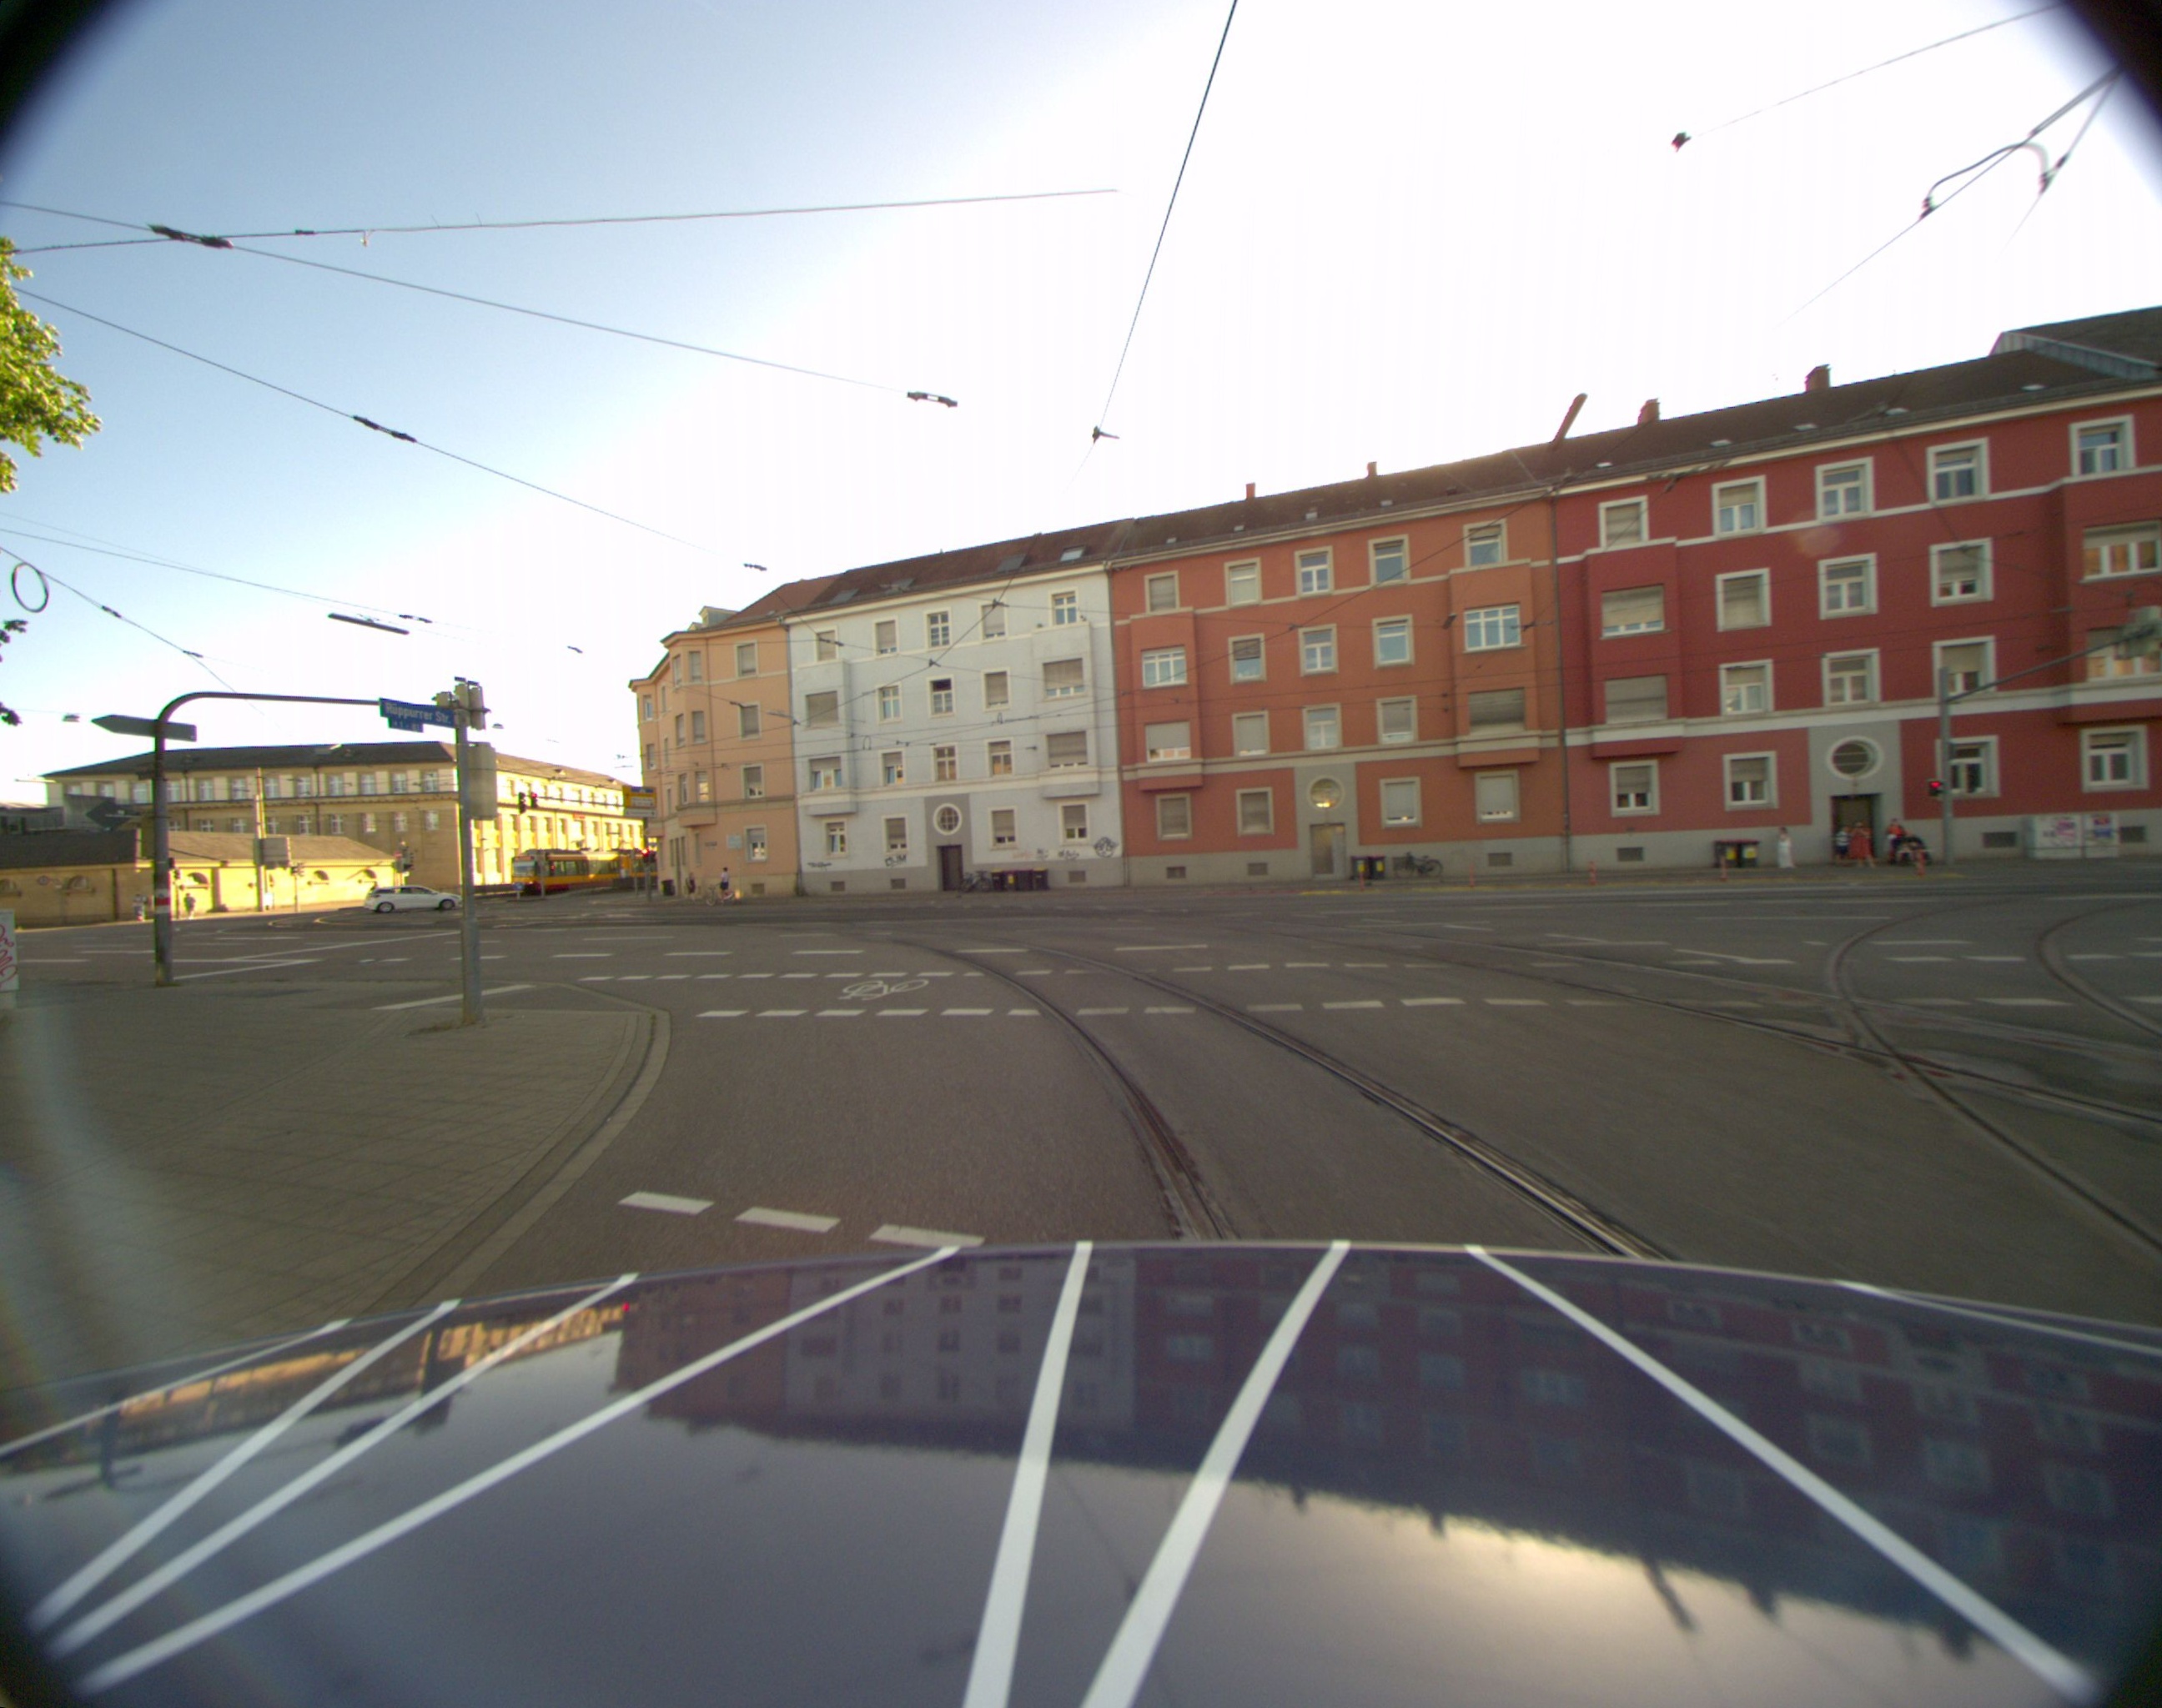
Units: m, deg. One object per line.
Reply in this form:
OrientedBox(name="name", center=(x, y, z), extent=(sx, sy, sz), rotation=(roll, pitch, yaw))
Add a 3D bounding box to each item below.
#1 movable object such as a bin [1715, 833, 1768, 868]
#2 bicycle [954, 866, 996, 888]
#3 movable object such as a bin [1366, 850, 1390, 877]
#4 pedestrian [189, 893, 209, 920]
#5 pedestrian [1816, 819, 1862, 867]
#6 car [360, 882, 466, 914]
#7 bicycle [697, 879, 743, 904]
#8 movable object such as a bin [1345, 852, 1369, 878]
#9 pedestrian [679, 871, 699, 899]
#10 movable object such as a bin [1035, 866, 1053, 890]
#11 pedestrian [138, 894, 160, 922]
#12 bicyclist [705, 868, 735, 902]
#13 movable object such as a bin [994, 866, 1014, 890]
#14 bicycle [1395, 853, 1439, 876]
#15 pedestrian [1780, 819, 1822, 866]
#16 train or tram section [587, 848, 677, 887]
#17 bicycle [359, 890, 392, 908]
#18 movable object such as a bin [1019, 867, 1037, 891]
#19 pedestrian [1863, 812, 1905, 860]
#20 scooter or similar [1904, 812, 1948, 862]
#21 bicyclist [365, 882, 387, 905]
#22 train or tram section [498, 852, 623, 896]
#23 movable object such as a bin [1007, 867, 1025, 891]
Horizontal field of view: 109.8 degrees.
OrientedBox(name="movable object such as a bin", center=(24.188, -0.128, 27.863), extent=(1.230, 1.242, 0.875), rotation=(-2, 1, 24))
OrientedBox(name="bicycle", center=(-5.203, 1.131, 37.294), extent=(1.873, 0.974, 0.608), rotation=(-2, 2, 17))
OrientedBox(name="movable object such as a bin", center=(12.356, 0.391, 31.654), extent=(0.810, 1.034, 0.846), rotation=(-2, 1, 14))
OrientedBox(name="pedestrian", center=(-55.876, 3.322, 48.124), extent=(0.626, 1.630, 0.488), rotation=(-3, 1, -30))
OrientedBox(name="pedestrian", center=(26.596, -0.395, 26.669), extent=(0.796, 1.624, 0.830), rotation=(-3, 1, -20))
OrientedBox(name="car", center=(-36.872, 2.398, 42.037), extent=(1.787, 1.386, 4.113), rotation=(-2, 1, 40))
OrientedBox(name="bicycle", center=(-18.565, 1.914, 39.083), extent=(2.148, 1.184, 0.750), rotation=(-3, 1, 18))
OrientedBox(name="movable object such as a bin", center=(11.565, 0.459, 31.842), extent=(0.810, 1.034, 0.846), rotation=(-2, 1, 14))
OrientedBox(name="pedestrian", center=(-21.883, 1.727, 42.380), extent=(0.718, 1.554, 0.678), rotation=(-2, 1, 37))
OrientedBox(name="movable object such as a bin", center=(-1.769, 1.141, 36.173), extent=(0.581, 1.100, 0.705), rotation=(-2, 1, 18))
OrientedBox(name="pedestrian", center=(-58.327, 3.376, 47.553), extent=(0.626, 1.630, 0.513), rotation=(-3, 1, -30))
OrientedBox(name="bicyclist", center=(-18.550, 1.595, 39.079), extent=(1.123, 1.633, 0.750), rotation=(-2, 1, 18))
OrientedBox(name="movable object such as a bin", center=(-3.729, 1.146, 36.798), extent=(0.647, 1.100, 0.705), rotation=(-2, 1, 18))
OrientedBox(name="bicycle", center=(13.827, 0.429, 31.291), extent=(1.601, 0.885, 0.336), rotation=(-2, 1, 22))
OrientedBox(name="pedestrian", center=(25.539, -0.406, 26.960), extent=(0.654, 1.624, 0.795), rotation=(-3, 1, -4))
OrientedBox(name="train or tram section", center=(-45.341, 1.252, 77.218), extent=(3.164, 3.337, 10.674), rotation=(-3, 1, -3))
OrientedBox(name="bicycle", center=(-52.309, 3.298, 56.377), extent=(0.685, 1.130, 2.071), rotation=(-3, 2, -9))
OrientedBox(name="movable object such as a bin", center=(-2.522, 1.177, 36.419), extent=(0.581, 1.100, 0.705), rotation=(-2, 1, 18))
OrientedBox(name="pedestrian", center=(27.924, -0.626, 26.422), extent=(0.796, 1.624, 0.654), rotation=(-3, 1, -14))
OrientedBox(name="scooter or similar", center=(28.426, -0.564, 25.567), extent=(0.796, 1.624, 0.654), rotation=(-3, 1, -14))
OrientedBox(name="bicyclist", center=(-52.328, 2.931, 56.395), extent=(0.677, 1.630, 0.939), rotation=(-3, 2, -9))
OrientedBox(name="train or tram section", center=(-44.684, 1.571, 65.989), extent=(3.166, 3.302, 11.813), rotation=(-3, 1, -3))
OrientedBox(name="movable object such as a bin", center=(-3.146, 1.201, 36.617), extent=(0.581, 1.100, 0.705), rotation=(-2, 1, 18))
